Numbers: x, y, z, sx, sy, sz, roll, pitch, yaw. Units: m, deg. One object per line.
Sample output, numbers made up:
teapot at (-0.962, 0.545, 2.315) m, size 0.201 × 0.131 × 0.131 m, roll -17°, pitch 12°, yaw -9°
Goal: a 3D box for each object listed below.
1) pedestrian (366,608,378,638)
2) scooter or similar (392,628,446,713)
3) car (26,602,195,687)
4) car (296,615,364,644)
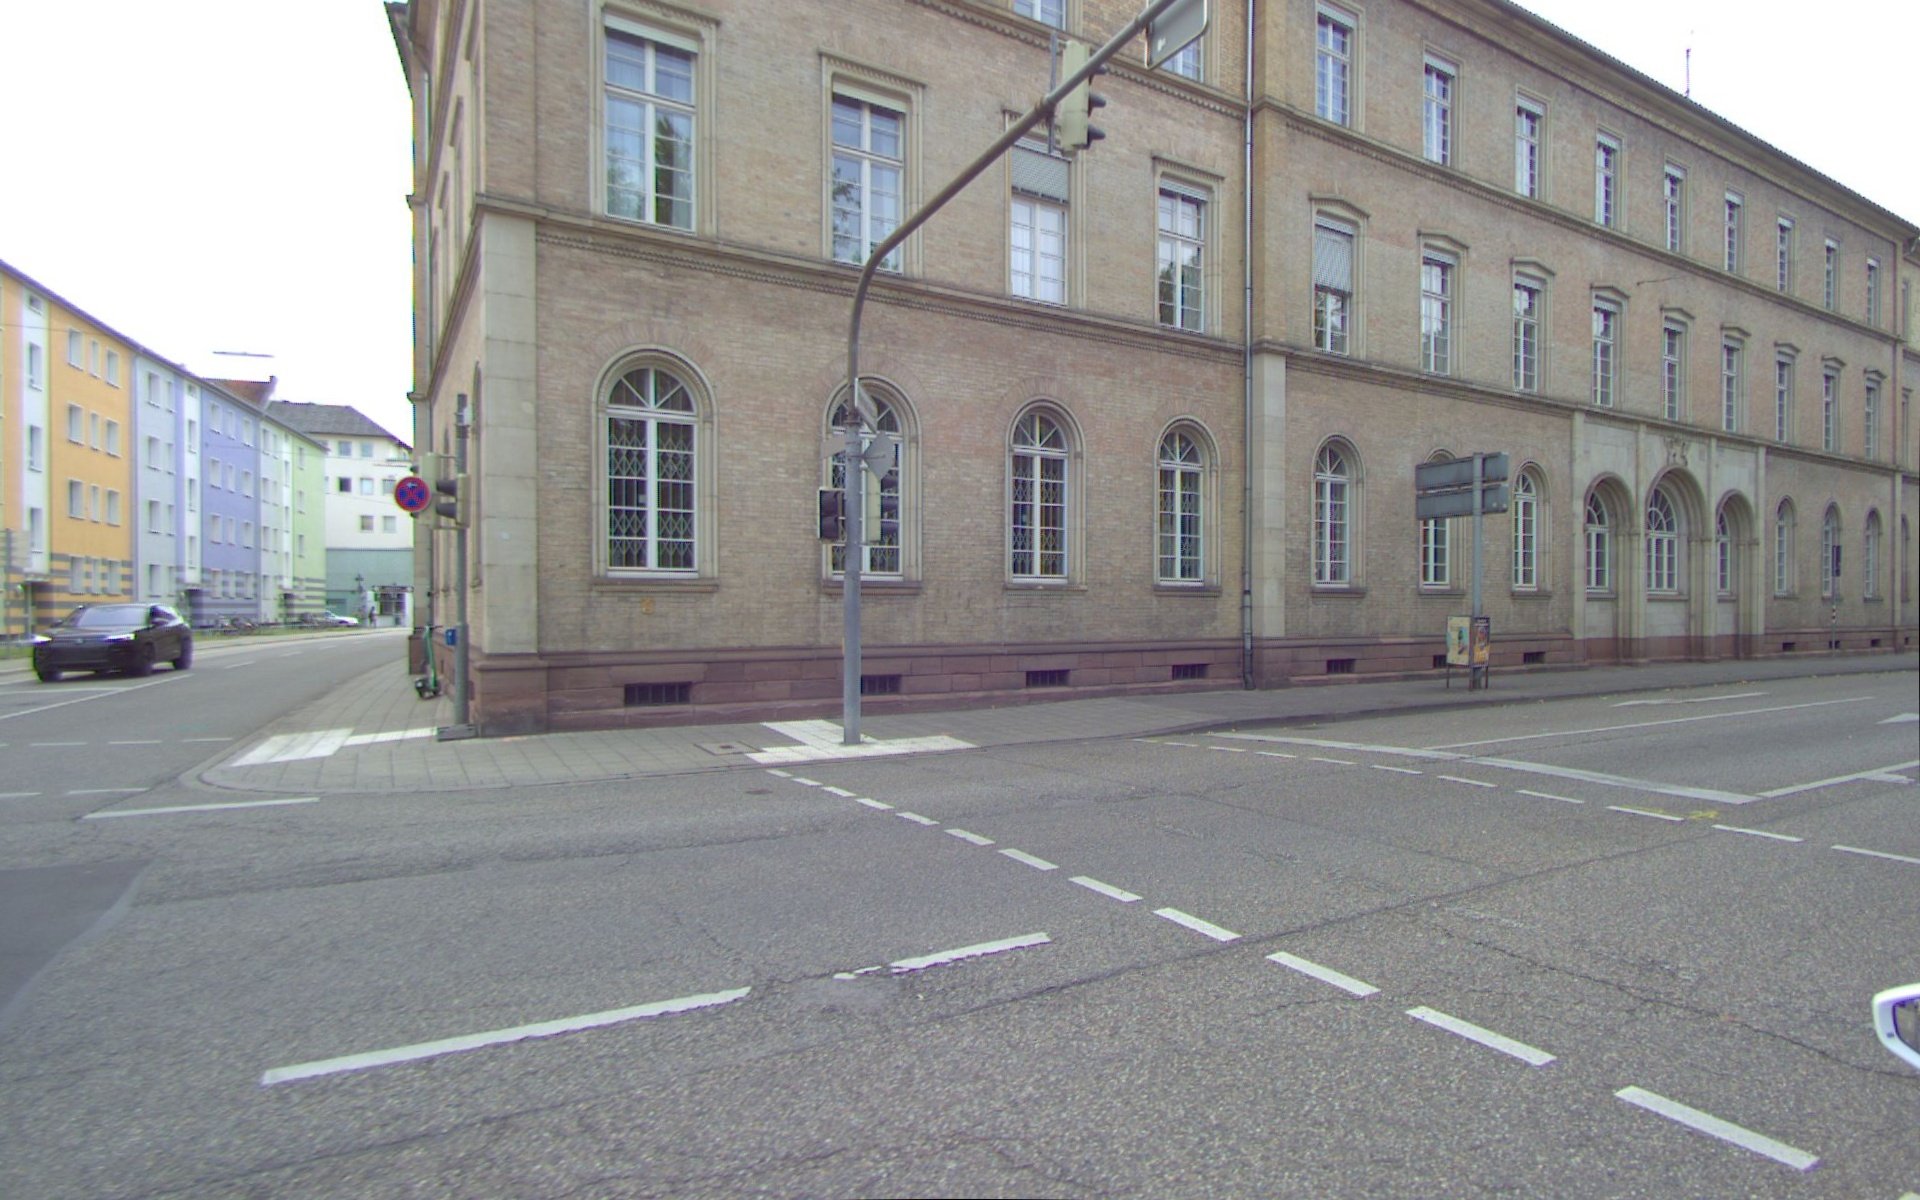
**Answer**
pedestrian at (-41.451, 1.611, 70.822) m, size 0.543 × 2.041 × 0.731 m, roll 0°, pitch 2°, yaw -11°
scooter or similar at (-8.267, 1.032, 15.407) m, size 0.552 × 1.180 × 2.362 m, roll 0°, pitch -1°, yaw -24°
car at (-18.791, 0.901, 22.435) m, size 1.873 × 1.622 × 3.974 m, roll 0°, pitch 1°, yaw -25°
car at (-46.377, 2.159, 74.034) m, size 3.943 × 2.041 × 1.988 m, roll 0°, pitch 2°, yaw -23°
